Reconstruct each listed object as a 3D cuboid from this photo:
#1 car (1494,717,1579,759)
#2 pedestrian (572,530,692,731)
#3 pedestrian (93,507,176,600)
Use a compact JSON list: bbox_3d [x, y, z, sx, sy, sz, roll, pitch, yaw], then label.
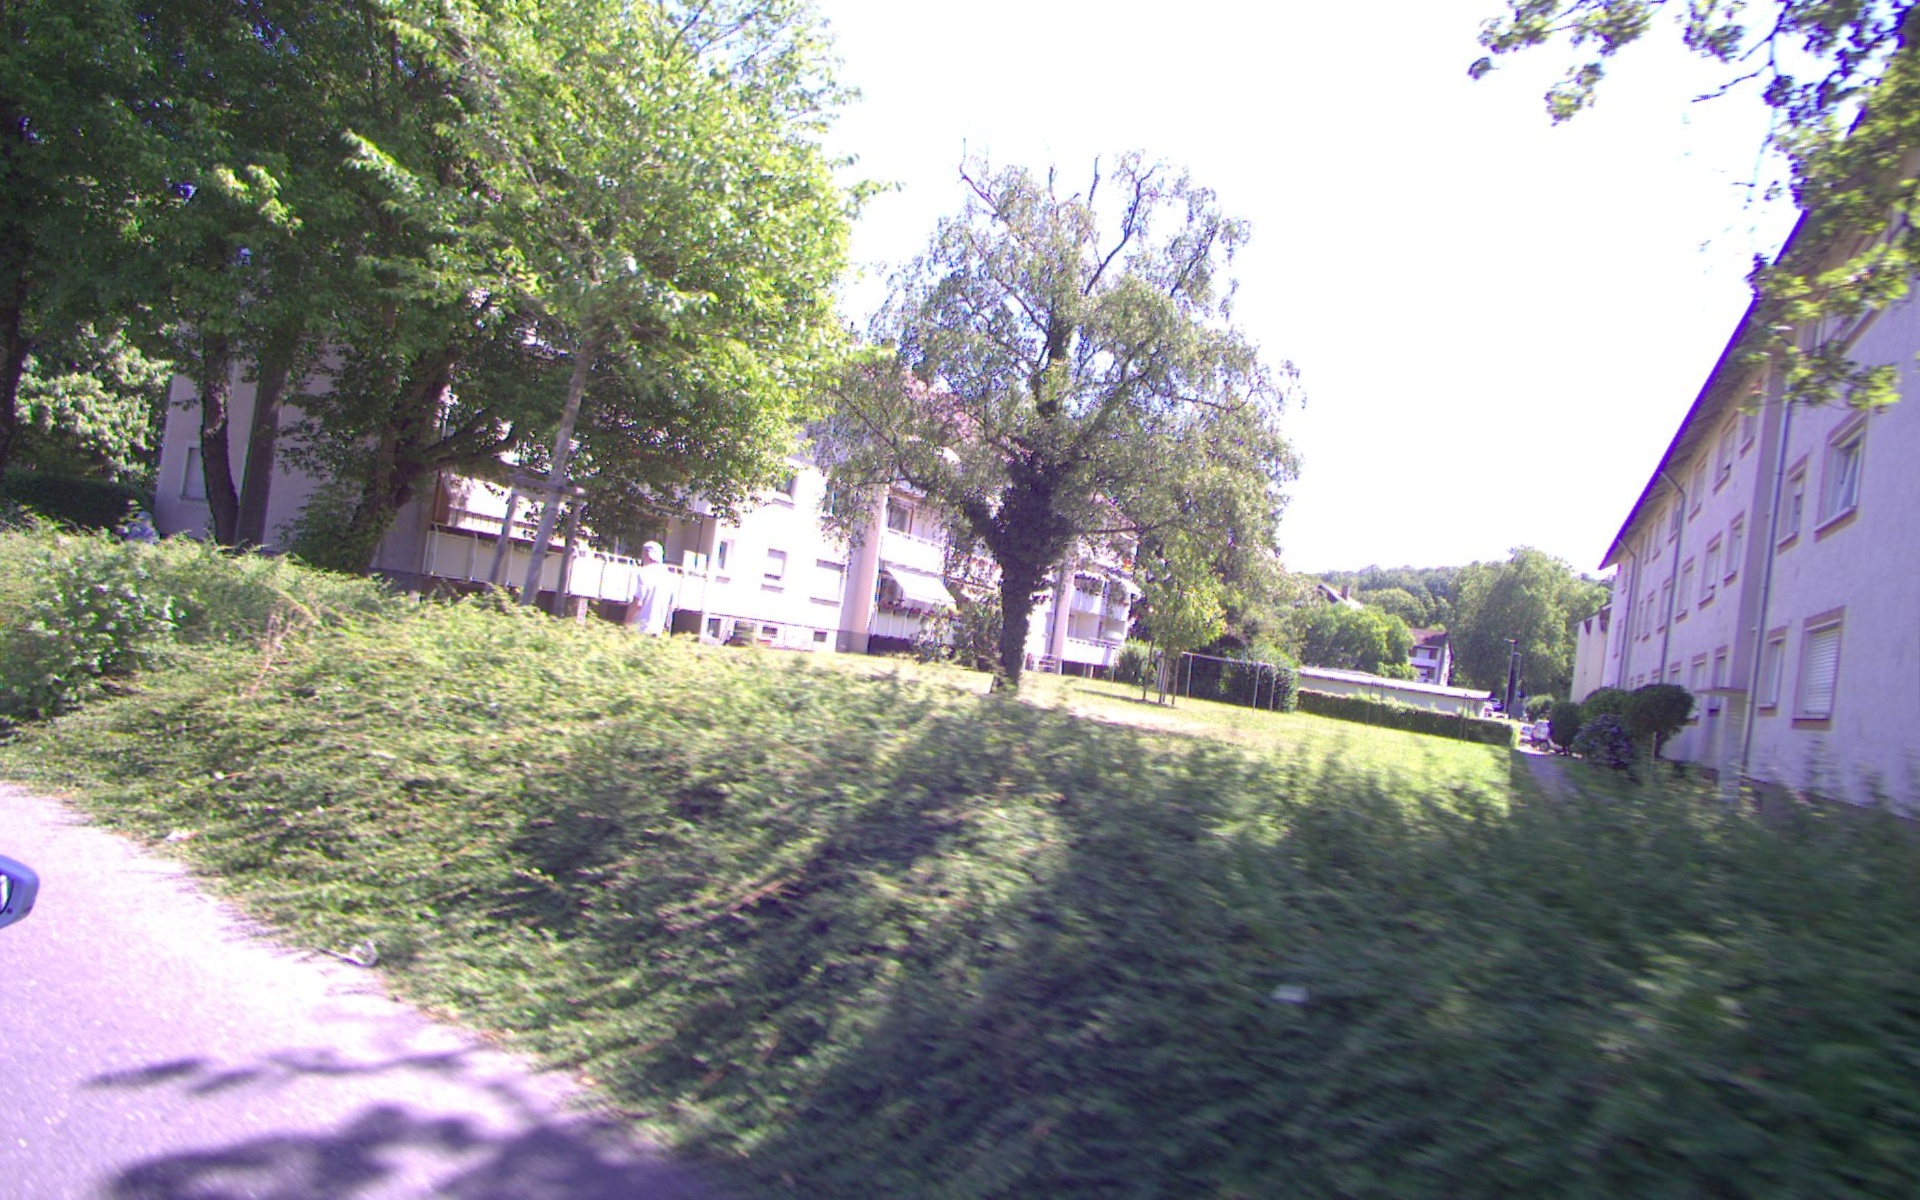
[{"bbox_3d":[35.350,8.449,61.768,1.933,1.844,3.928,8,-2,-29],"label":"car"},{"bbox_3d":[-3.338,0.318,10.256,0.649,1.937,0.704,7,0,35],"label":"pedestrian"},{"bbox_3d":[-13.230,-0.742,16.128,0.874,1.350,0.663,7,-1,32],"label":"pedestrian"}]
